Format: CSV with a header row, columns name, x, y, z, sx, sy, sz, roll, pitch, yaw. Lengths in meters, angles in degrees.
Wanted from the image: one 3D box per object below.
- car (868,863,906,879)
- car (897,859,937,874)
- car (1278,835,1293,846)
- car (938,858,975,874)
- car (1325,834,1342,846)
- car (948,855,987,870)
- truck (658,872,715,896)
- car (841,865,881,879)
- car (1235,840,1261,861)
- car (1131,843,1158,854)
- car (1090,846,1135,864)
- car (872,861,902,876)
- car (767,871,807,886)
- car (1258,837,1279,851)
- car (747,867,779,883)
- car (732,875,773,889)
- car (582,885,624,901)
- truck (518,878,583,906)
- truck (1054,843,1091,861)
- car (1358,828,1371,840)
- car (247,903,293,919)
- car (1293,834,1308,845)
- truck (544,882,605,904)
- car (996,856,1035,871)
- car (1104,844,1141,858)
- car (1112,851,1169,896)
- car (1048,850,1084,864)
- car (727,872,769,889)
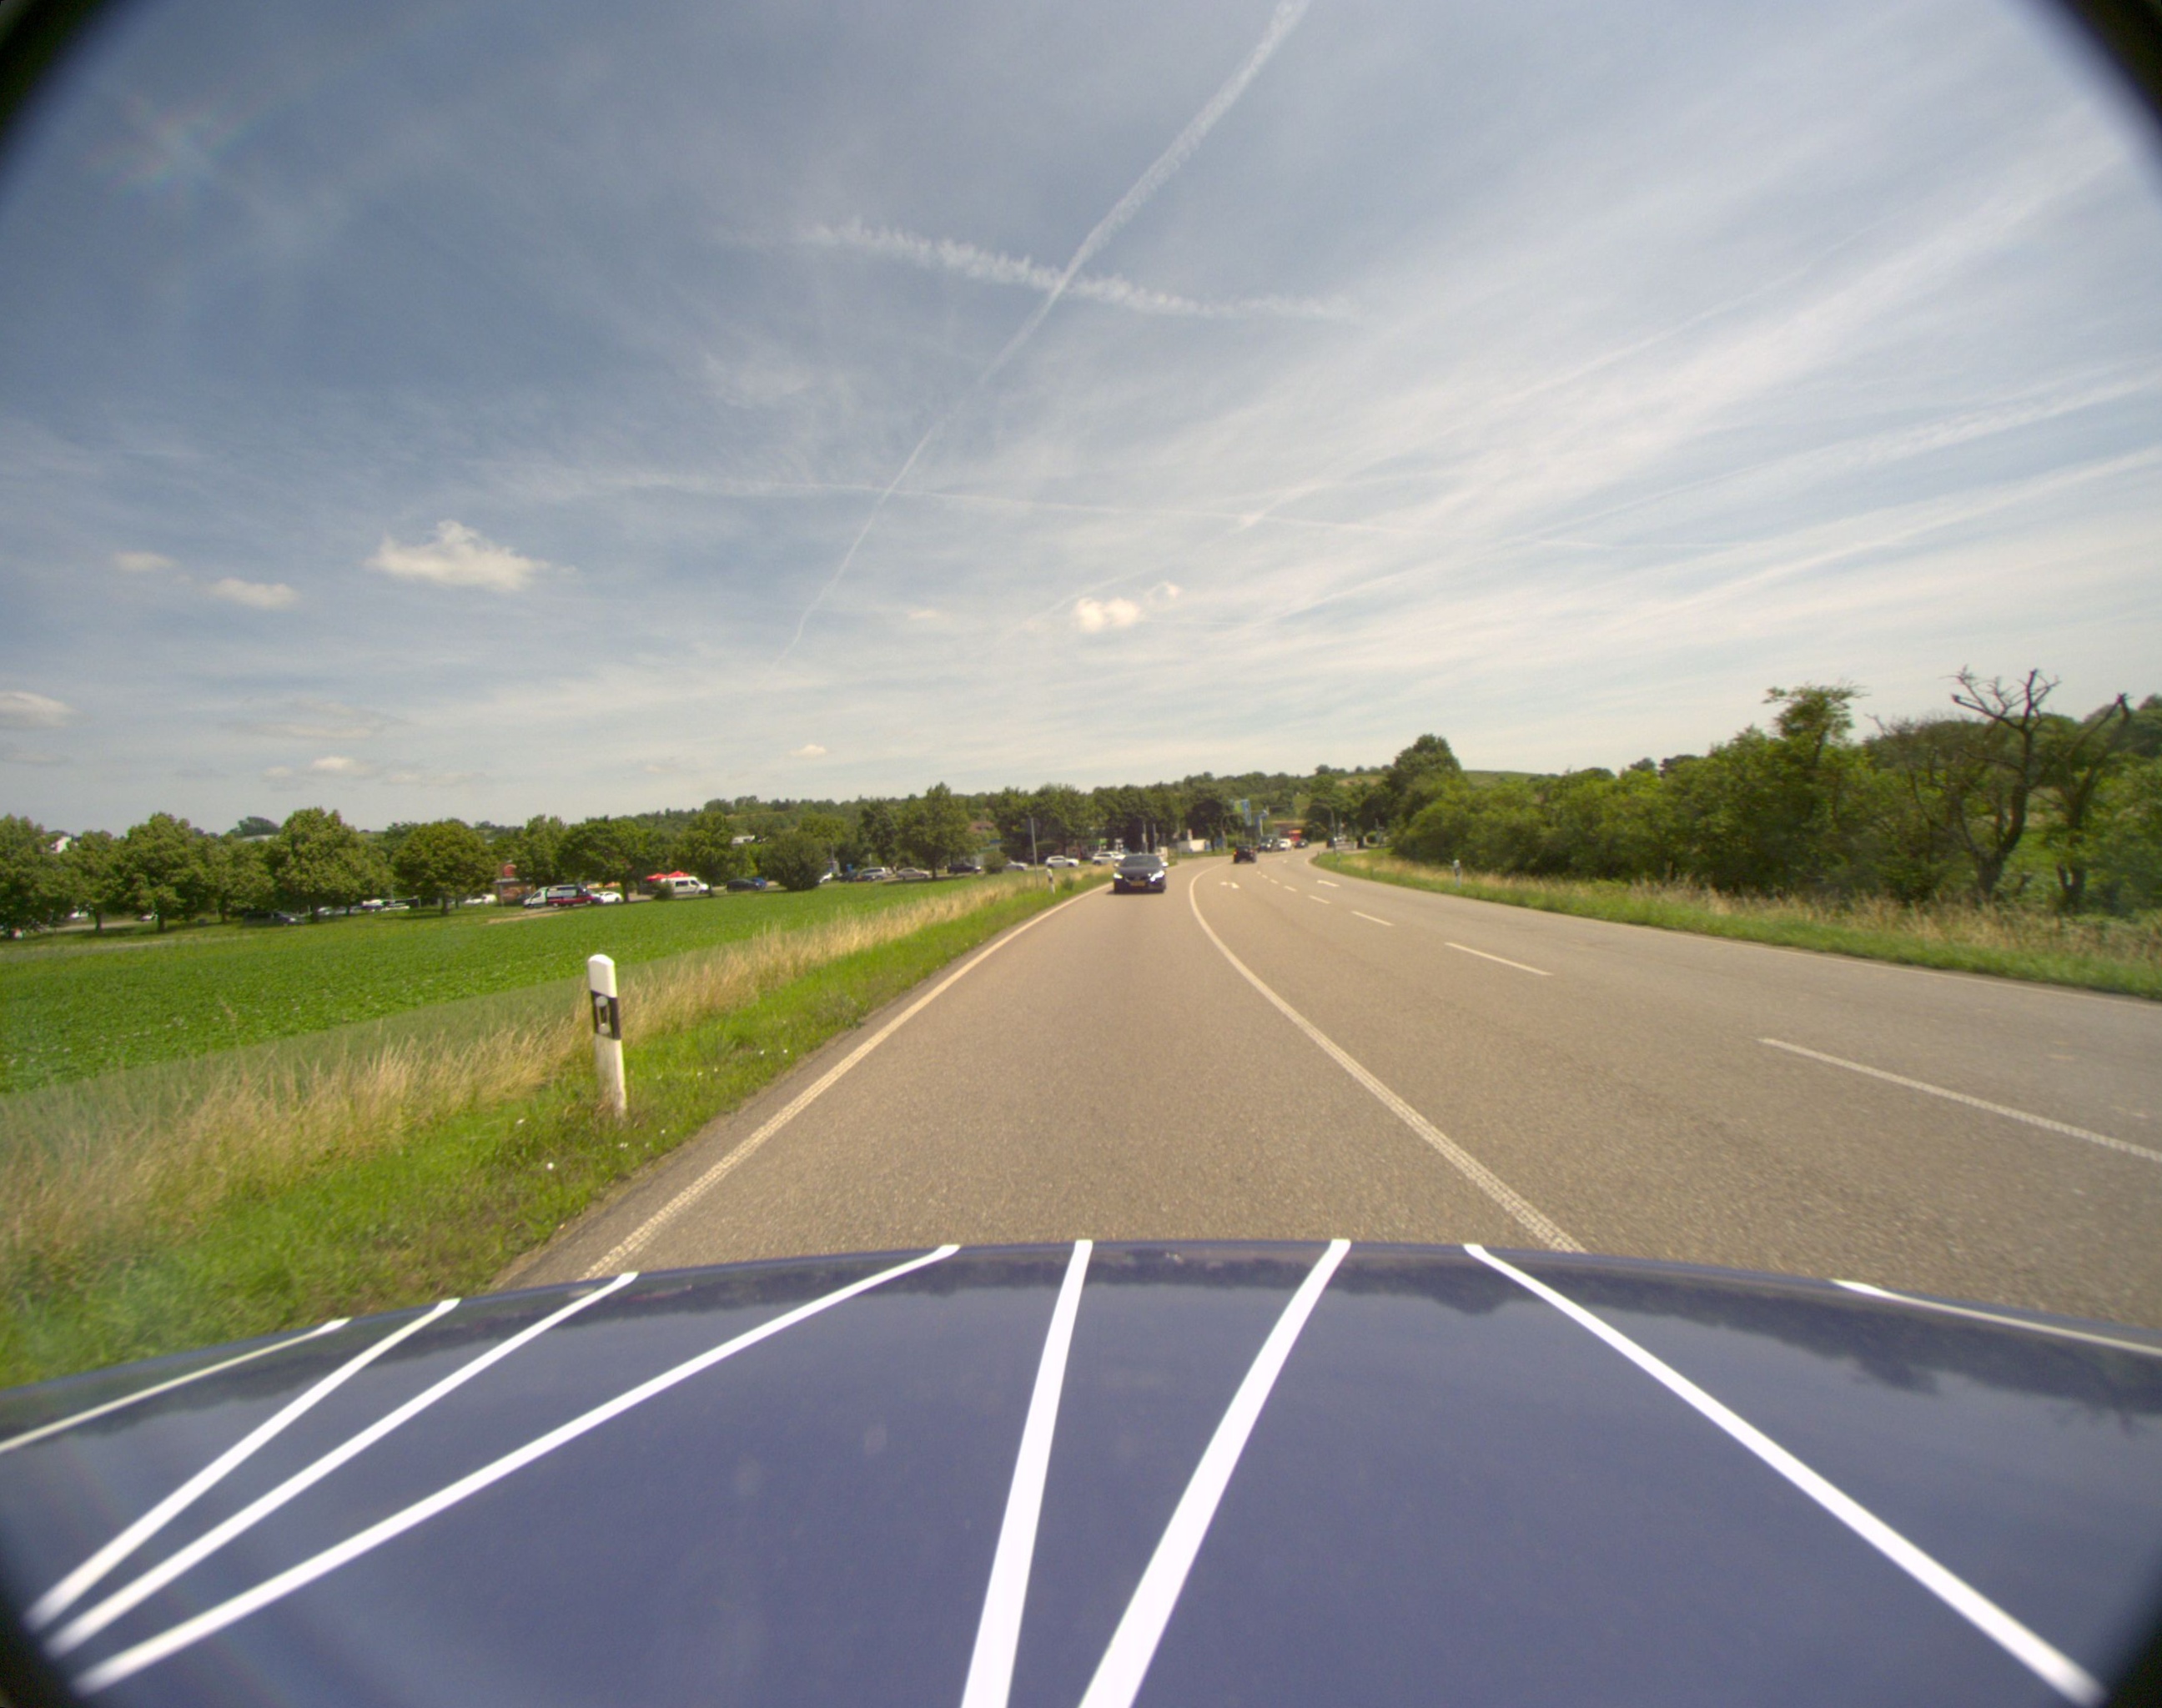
name,x,y,z,sx,sy,sz,roll,pitch,yaw
car,-25.432,2.256,99.831,4.525,1.682,1.865,-4,2,-7
car,-20.764,1.596,96.357,4.560,1.502,1.799,-4,2,-4
car,31.574,-2.087,117.374,1.780,1.485,4.161,-3,2,21
car,-16.788,1.603,102.733,4.523,1.682,1.866,-4,2,0
car,39.920,-2.249,120.168,1.995,1.686,4.006,-1,2,26
car,-14.477,1.059,97.169,4.558,1.502,1.800,-4,4,2
truck,-47.942,3.631,92.375,5.640,2.353,2.050,-5,2,-15
car,-27.807,2.245,96.081,4.562,1.266,1.799,-5,2,-9
car,15.081,-0.315,68.423,1.773,1.649,4.004,-2,2,18
car,11.475,-1.046,136.534,4.637,1.613,1.995,-5,3,-37
car,3.684,0.129,88.947,4.630,1.598,2.001,-4,3,26
car,-28.905,2.175,113.319,4.000,1.814,1.820,-5,2,-11
car,-38.912,3.228,100.580,4.525,1.682,1.865,-4,2,-5
car,26.934,-1.461,109.226,1.806,1.723,4.005,-3,2,30
car,-45.424,2.962,108.600,4.003,1.814,1.819,-5,2,-22
car,-41.873,3.558,96.920,4.386,1.549,1.784,-4,0,-5
car,-62.368,5.132,99.289,1.874,1.550,4.503,-4,2,13
truck,-64.286,4.597,92.165,5.945,2.723,2.070,-5,4,-14
truck,-1.437,-0.345,131.420,6.158,2.603,2.257,-5,2,-38
car,53.993,-3.845,144.713,1.996,1.994,5.171,-2,1,24
car,-111.847,7.866,104.806,3.999,1.814,1.732,-4,2,-7
car,37.001,-2.398,128.141,1.806,1.722,4.006,-3,0,23
truck,-59.300,4.605,89.050,5.477,1.965,1.798,-5,2,-14
car,-8.291,1.202,96.220,4.556,1.501,1.802,-4,0,7
car,5.081,-0.334,93.004,3.963,1.411,1.830,-3,2,26
car,2.276,0.672,28.148,1.782,1.484,4.160,-2,1,8
car,-1.820,0.399,94.565,4.099,1.411,1.802,-3,2,13
car,-41.297,3.266,94.347,4.291,1.688,1.998,-4,2,-9
